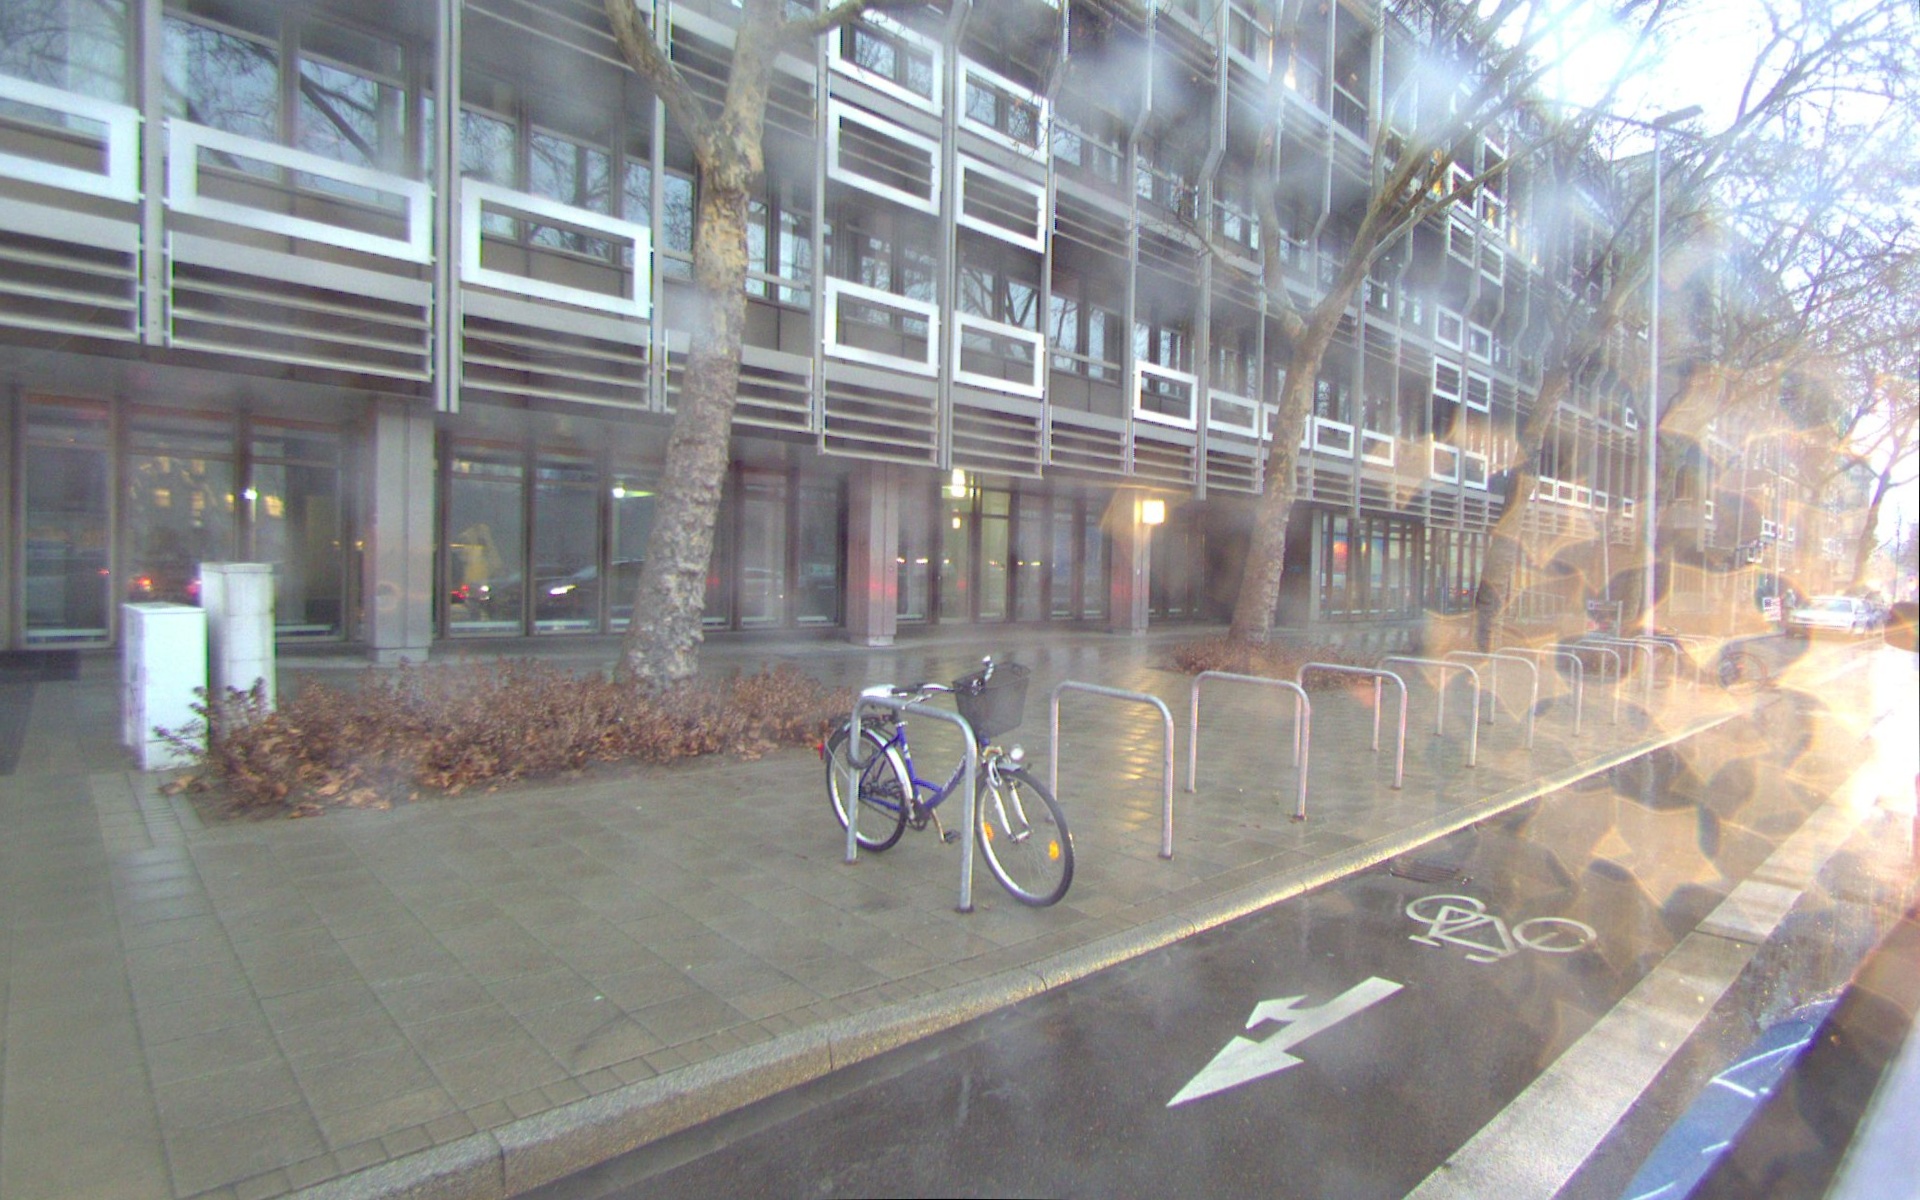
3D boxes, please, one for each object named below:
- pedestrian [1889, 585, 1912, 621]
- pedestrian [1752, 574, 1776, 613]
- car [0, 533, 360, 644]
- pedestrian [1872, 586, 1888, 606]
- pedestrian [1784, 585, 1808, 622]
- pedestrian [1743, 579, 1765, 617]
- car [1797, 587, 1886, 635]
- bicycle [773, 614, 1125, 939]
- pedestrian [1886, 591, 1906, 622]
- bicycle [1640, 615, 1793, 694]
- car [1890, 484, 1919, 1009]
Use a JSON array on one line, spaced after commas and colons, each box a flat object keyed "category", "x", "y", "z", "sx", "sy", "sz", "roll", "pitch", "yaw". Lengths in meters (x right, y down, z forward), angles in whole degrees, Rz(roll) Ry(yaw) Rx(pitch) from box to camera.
[{"category": "pedestrian", "x": 47.086, "y": 0.144, "z": 50.657, "sx": 0.765, "sy": 1.771, "sz": 0.913, "roll": 2, "pitch": 2, "yaw": 45}, {"category": "pedestrian", "x": 46.362, "y": -0.401, "z": 58.396, "sx": 1.056, "sy": 2.222, "sz": 1.096, "roll": 0, "pitch": 0, "yaw": 38}, {"category": "car", "x": -10.733, "y": -0.191, "z": 14.016, "sx": 3.929, "sy": 1.326, "sz": 1.998, "roll": 0, "pitch": 3, "yaw": -40}, {"category": "pedestrian", "x": 63.964, "y": -0.288, "z": 70.358, "sx": 0.738, "sy": 1.354, "sz": 0.781, "roll": 0, "pitch": 0, "yaw": -41}, {"category": "pedestrian", "x": 40.465, "y": 0.152, "z": 48.964, "sx": 0.765, "sy": 1.771, "sz": 0.913, "roll": 2, "pitch": 2, "yaw": 45}, {"category": "pedestrian", "x": 42.068, "y": -0.106, "z": 53.622, "sx": 0.912, "sy": 2.004, "sz": 0.699, "roll": 0, "pitch": 2, "yaw": -41}, {"category": "car", "x": 29.431, "y": 0.329, "z": 33.762, "sx": 3.930, "sy": 1.482, "sz": 1.711, "roll": -1, "pitch": 1, "yaw": -41}, {"category": "bicycle", "x": -0.138, "y": 0.712, "z": 4.869, "sx": 0.629, "sy": 1.145, "sz": 1.810, "roll": 2, "pitch": 2, "yaw": -41}, {"category": "pedestrian", "x": 54.054, "y": 0.373, "z": 58.436, "sx": 0.765, "sy": 1.771, "sz": 0.913, "roll": 2, "pitch": 2, "yaw": 45}, {"category": "bicycle", "x": 11.625, "y": 0.797, "z": 15.596, "sx": 0.864, "sy": 1.004, "sz": 1.704, "roll": 0, "pitch": 4, "yaw": -41}, {"category": "car", "x": 5.435, "y": 0.504, "z": 4.260, "sx": 3.931, "sy": 1.864, "sz": 1.876, "roll": -1, "pitch": 0, "yaw": -42}]
